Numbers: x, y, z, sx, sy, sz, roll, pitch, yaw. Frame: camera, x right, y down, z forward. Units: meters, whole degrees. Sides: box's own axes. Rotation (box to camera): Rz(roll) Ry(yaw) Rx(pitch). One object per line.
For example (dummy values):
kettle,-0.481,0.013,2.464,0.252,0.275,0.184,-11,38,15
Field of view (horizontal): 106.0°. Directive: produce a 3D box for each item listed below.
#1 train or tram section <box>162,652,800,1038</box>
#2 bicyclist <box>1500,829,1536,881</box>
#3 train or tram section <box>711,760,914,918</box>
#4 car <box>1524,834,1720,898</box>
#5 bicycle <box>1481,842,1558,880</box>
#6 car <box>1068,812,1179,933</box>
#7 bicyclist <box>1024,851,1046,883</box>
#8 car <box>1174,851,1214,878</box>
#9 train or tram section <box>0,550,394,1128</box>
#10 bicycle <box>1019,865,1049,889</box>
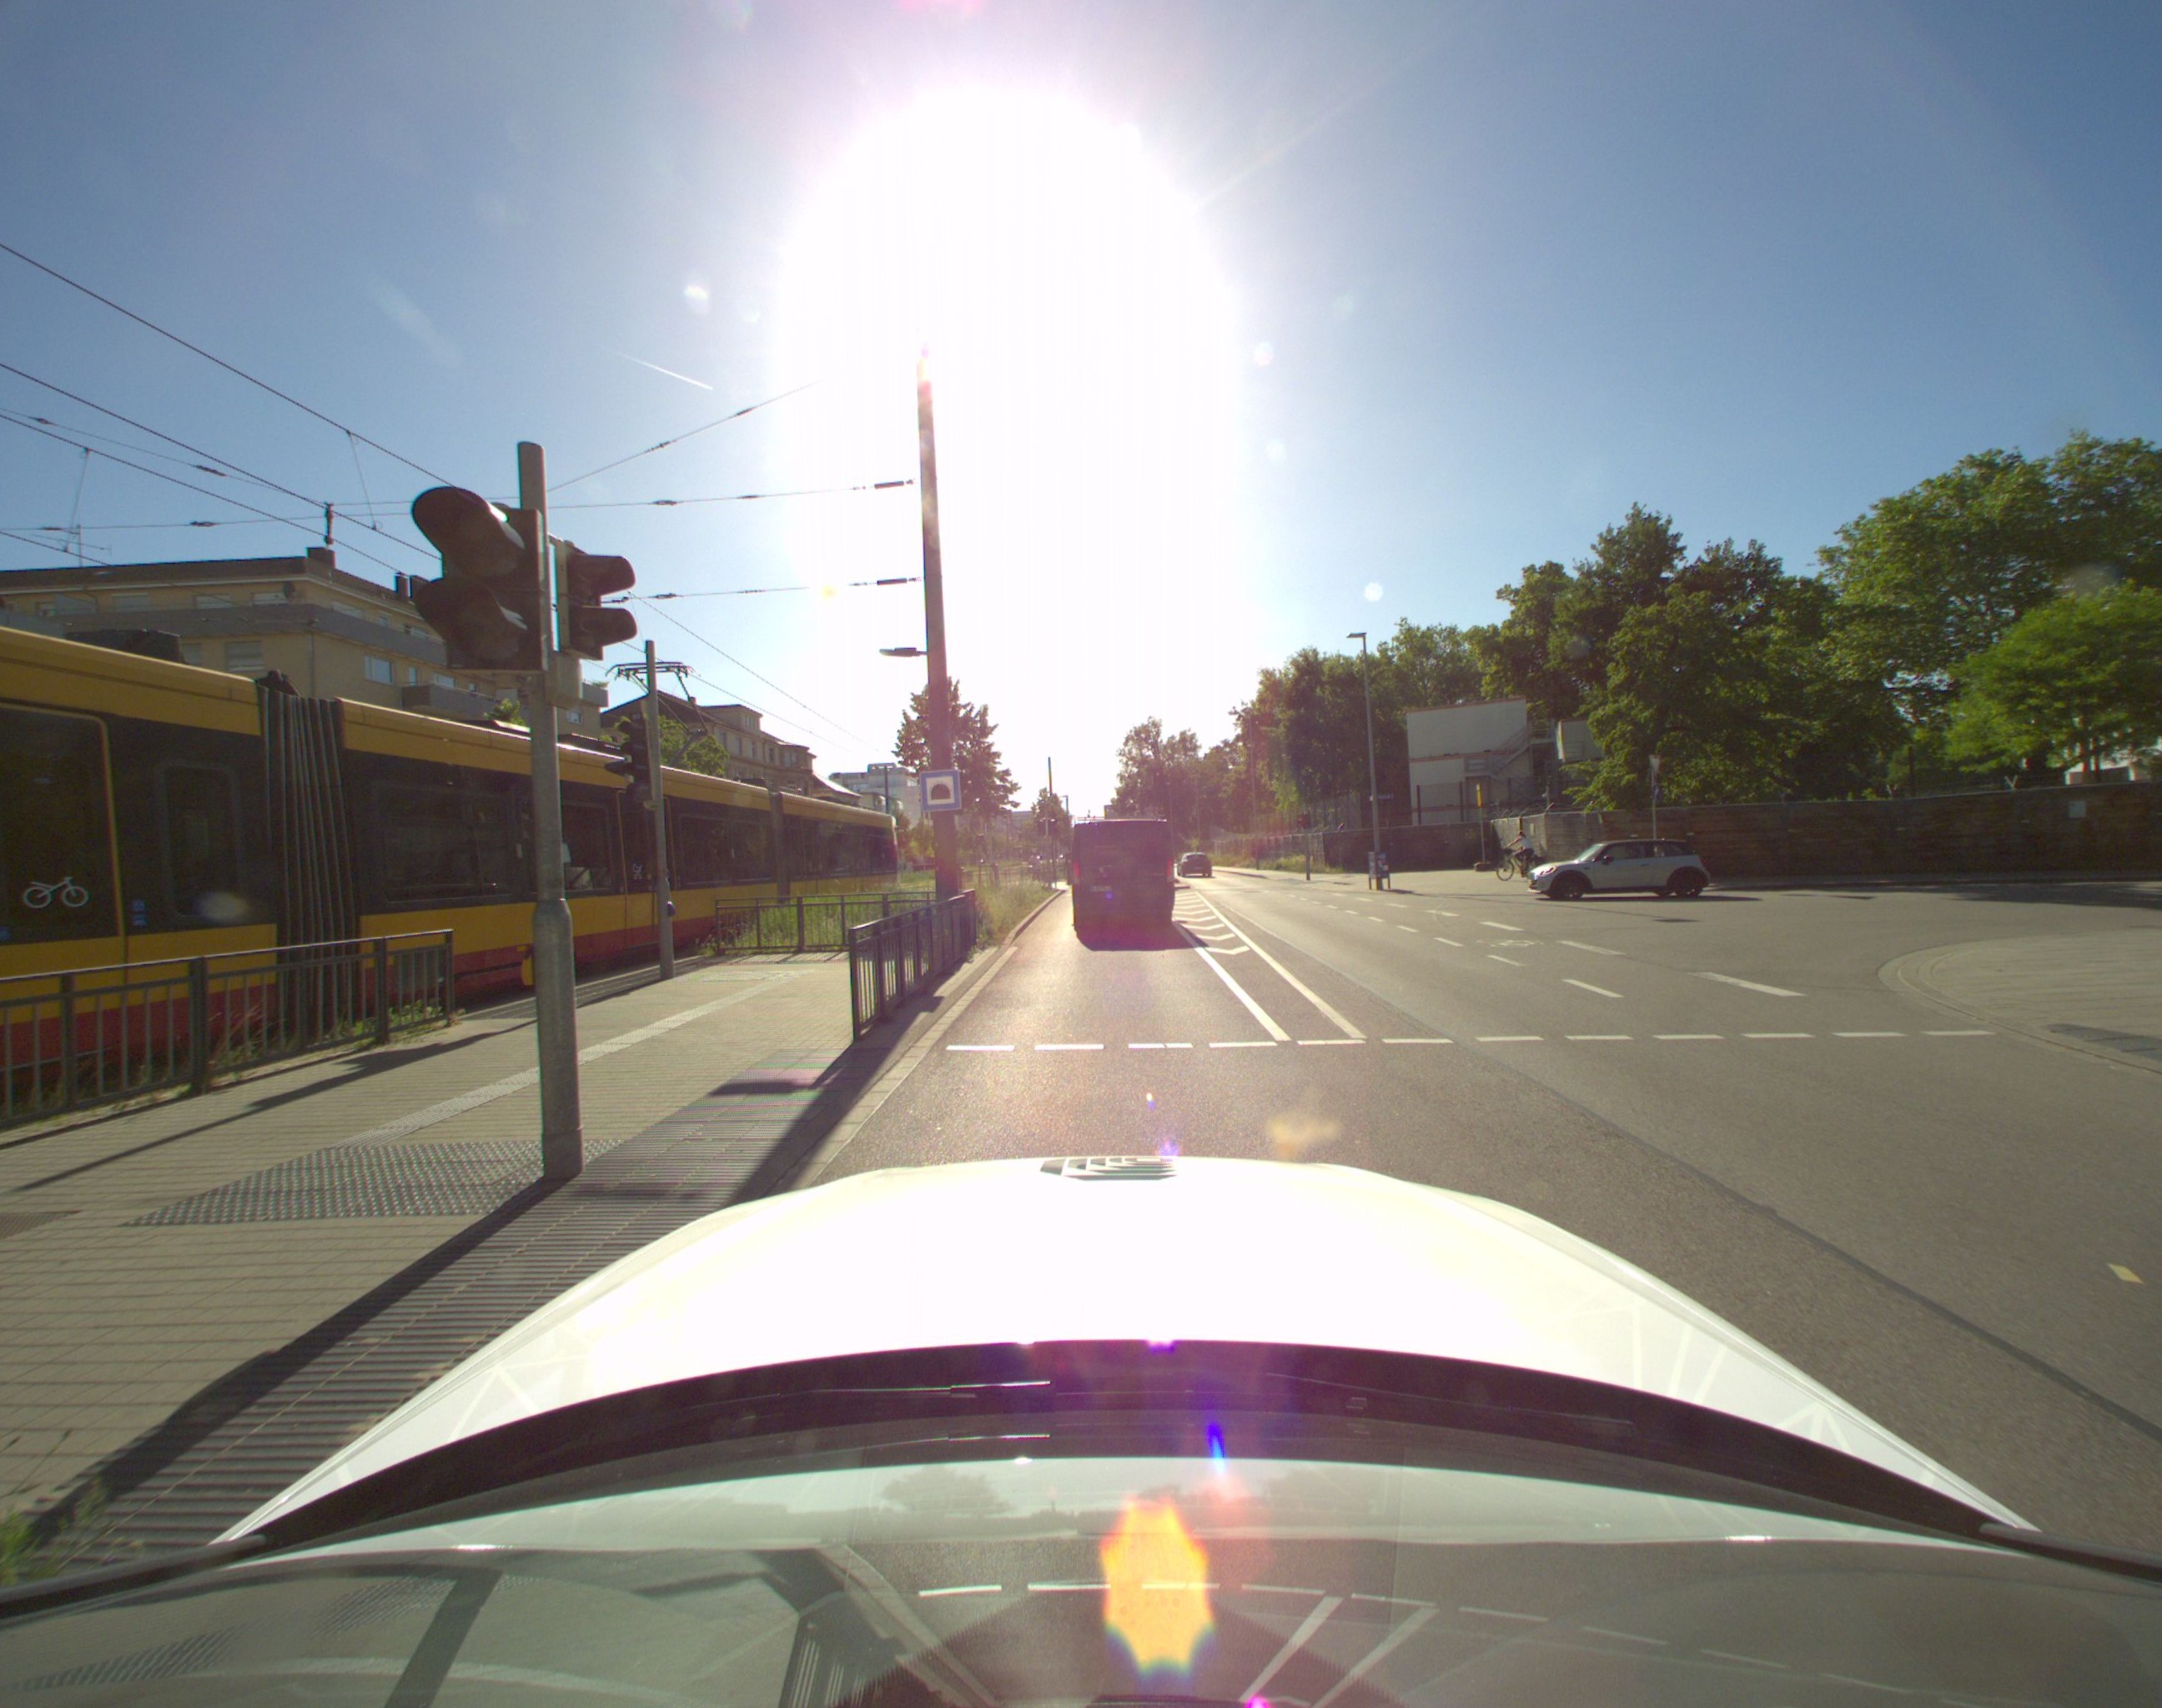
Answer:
train or tram section,-7.752,-0.077,13.526,1.987,3.669,11.317,-2,0,1
bicyclist,14.599,0.034,27.188,0.841,1.673,0.748,-4,-1,39
train or tram section,-7.523,-0.342,25.037,1.986,3.669,11.687,-2,0,1
car,13.253,0.299,20.216,3.670,1.436,1.781,-2,0,17
bicycle,14.637,0.255,27.231,2.097,1.112,0.608,-5,-1,40
car,0.842,0.364,17.667,2.075,2.249,4.000,-2,0,1
bicyclist,-2.262,0.648,39.761,0.830,1.512,0.724,-2,0,-25
car,6.670,0.619,48.437,1.758,1.462,3.998,-2,0,-1
train or tram section,-7.875,-0.088,0.953,1.987,3.669,14.151,-2,0,0
bicycle,-2.308,1.123,39.925,0.736,1.091,2.065,-2,0,-25
